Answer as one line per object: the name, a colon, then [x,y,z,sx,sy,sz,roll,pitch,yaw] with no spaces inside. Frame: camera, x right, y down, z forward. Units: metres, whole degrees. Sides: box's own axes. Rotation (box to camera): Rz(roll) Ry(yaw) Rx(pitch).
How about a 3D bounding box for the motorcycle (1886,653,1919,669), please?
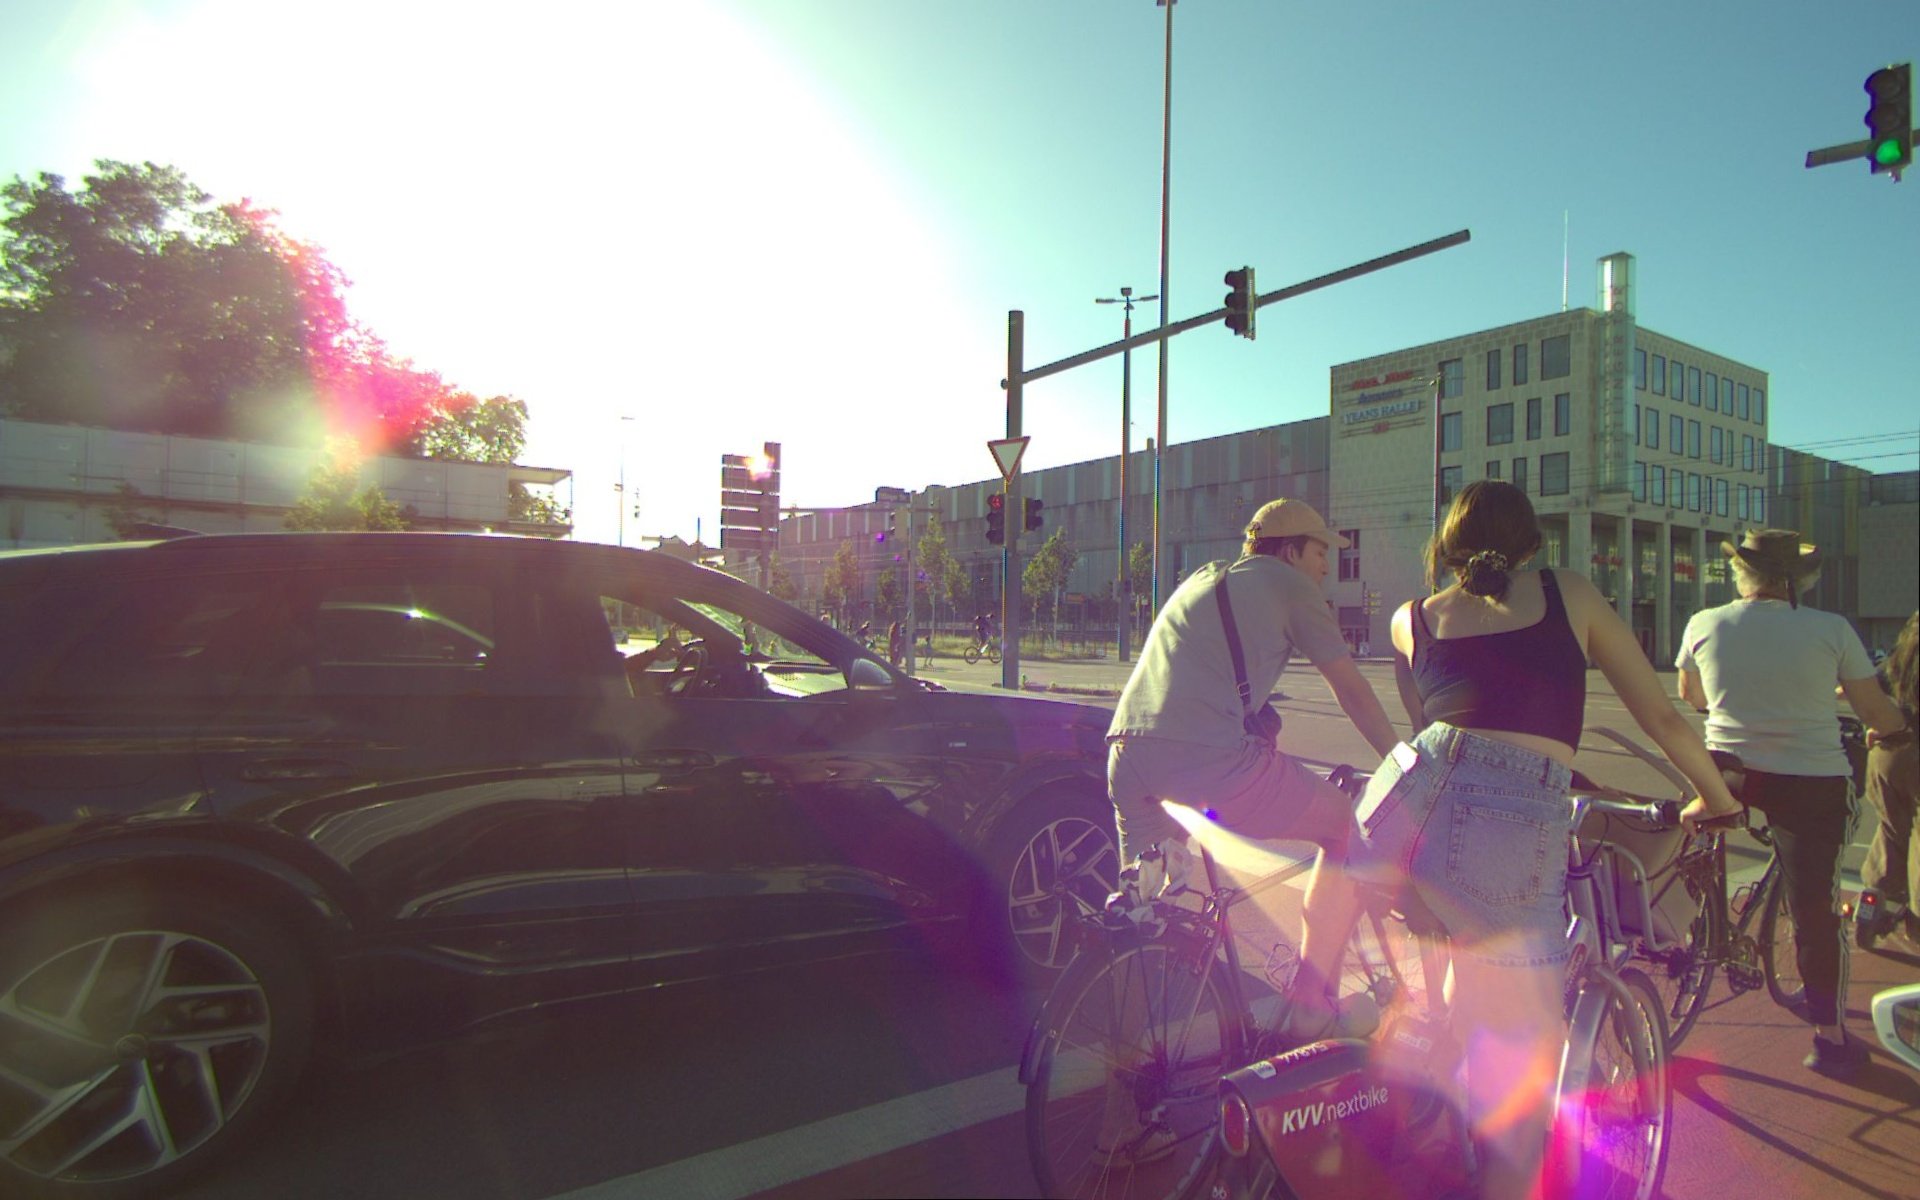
motorcycle: [70.644,4.549,74.600,0.908,1.009,2.649,2,0,-36]

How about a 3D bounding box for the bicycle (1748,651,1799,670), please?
bicycle: [51.481,3.842,63.611,0.586,1.125,2.458,1,-2,-28]

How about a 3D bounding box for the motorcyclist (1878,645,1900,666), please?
motorcyclist: [67.579,4.031,73.084,0.908,1.490,1.029,2,0,-37]

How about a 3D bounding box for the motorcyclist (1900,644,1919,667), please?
motorcyclist: [70.681,4.118,74.587,0.908,1.596,1.129,2,0,-37]

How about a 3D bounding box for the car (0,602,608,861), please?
car: [-4.831,0.735,6.608,4.476,1.370,1.761,2,-1,-32]

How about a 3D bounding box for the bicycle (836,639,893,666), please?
bicycle: [-3.615,1.985,38.195,2.059,0.939,0.797,1,-1,-39]

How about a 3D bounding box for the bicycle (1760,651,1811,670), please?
bicycle: [53.147,3.899,64.684,0.675,1.125,2.458,1,-2,-28]

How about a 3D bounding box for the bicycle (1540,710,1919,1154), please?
bicycle: [2.887,1.000,3.551,1.780,1.108,0.703,2,-2,-32]

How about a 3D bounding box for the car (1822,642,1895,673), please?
car: [49.798,3.175,55.637,4.247,1.601,1.927,2,-2,-32]

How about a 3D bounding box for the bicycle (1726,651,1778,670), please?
bicycle: [48.703,3.708,61.801,0.675,1.125,2.458,1,-2,-28]

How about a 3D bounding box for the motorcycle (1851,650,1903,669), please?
motorcycle: [65.595,4.247,71.874,0.908,1.233,2.649,2,0,-36]

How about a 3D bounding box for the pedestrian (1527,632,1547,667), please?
pedestrian: [34.196,2.913,59.561,0.899,2.040,1.023,1,-1,22]

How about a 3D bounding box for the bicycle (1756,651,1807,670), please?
bicycle: [52.519,3.882,64.237,0.675,1.125,2.458,1,-2,-28]

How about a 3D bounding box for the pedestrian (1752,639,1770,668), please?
pedestrian: [56.565,3.781,70.975,0.933,2.008,1.004,0,-1,36]

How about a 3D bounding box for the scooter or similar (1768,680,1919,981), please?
scooter or similar: [4.517,1.012,4.762,1.468,1.191,0.638,2,0,-33]

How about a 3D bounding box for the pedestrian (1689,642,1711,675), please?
pedestrian: [40.835,3.218,55.400,0.748,1.763,0.746,2,-1,-32]

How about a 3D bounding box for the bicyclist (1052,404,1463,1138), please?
bicyclist: [0.793,0.385,2.691,0.884,1.596,0.620,2,-1,-31]

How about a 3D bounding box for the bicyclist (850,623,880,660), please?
bicyclist: [-3.618,1.564,38.199,0.834,1.374,0.797,1,-1,-38]

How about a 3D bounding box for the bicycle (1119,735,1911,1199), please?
bicycle: [1.223,0.905,2.080,1.780,1.108,0.647,2,-2,-31]

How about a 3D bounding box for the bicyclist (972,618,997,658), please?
bicyclist: [0.949,1.488,39.163,0.612,1.525,0.748,1,-1,-37]

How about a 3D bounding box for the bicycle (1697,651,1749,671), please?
bicycle: [45.656,3.636,60.126,0.650,1.127,2.391,1,-2,-29]

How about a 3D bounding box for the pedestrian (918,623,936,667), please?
pedestrian: [-1.189,1.645,36.511,0.446,1.587,0.516,1,-1,-30]

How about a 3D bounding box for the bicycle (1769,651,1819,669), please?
bicycle: [55.415,3.996,66.764,0.824,1.125,2.458,1,-2,-28]

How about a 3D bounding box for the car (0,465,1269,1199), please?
car: [-1.203,0.607,4.070,4.740,1.684,2.182,2,-2,-33]

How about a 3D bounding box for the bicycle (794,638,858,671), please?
bicycle: [-4.267,1.737,32.006,1.951,1.010,0.645,1,-1,-25]

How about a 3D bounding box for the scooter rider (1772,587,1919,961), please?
scooter rider: [4.388,0.742,4.665,1.105,1.564,0.638,2,0,-33]

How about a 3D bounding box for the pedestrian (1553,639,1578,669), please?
pedestrian: [35.214,3.144,58.456,0.987,1.672,0.949,1,-1,14]

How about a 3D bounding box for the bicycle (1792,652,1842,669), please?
bicycle: [58.330,4.110,68.383,0.824,1.125,2.458,1,-2,-28]

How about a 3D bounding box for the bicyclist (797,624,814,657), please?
bicyclist: [-6.076,1.596,39.483,0.627,1.287,0.803,0,-1,-14]

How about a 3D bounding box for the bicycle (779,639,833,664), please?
bicycle: [-6.060,2.010,39.472,2.042,0.939,0.803,0,-1,-14]

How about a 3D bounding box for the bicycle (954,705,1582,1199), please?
bicycle: [0.912,0.902,2.756,1.795,1.131,0.620,2,-2,-31]

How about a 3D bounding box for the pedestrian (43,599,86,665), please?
pedestrian: [-23.653,0.838,26.555,0.646,1.702,0.834,1,-1,-30]

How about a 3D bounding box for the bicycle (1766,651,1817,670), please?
bicycle: [53.864,3.925,65.102,0.824,1.125,2.458,1,-2,-28]

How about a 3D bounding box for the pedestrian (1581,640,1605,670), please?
pedestrian: [35.612,3.086,56.507,0.926,1.592,0.842,1,-1,12]

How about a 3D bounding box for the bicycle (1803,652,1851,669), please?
bicycle: [59.664,4.156,69.141,0.652,1.125,2.458,1,-2,-28]

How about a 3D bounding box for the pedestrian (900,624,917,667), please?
pedestrian: [-1.899,1.664,37.056,0.446,1.587,0.516,1,-1,-30]

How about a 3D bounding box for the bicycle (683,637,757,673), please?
bicycle: [-6.975,1.580,29.172,2.043,0.991,0.803,0,-1,-16]

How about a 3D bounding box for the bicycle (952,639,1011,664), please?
bicycle: [0.863,2.000,39.093,2.373,0.953,0.748,2,-2,-38]

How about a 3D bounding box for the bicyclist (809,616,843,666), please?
bicyclist: [-4.273,1.291,32.016,0.929,1.565,0.645,1,-1,-25]

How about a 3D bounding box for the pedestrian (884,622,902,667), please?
pedestrian: [-2.395,1.601,36.014,0.446,1.587,0.516,1,-1,-30]

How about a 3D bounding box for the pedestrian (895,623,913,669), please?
pedestrian: [-1.990,1.607,35.423,0.446,1.587,0.516,1,-1,-30]

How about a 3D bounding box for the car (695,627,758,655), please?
car: [-12.426,2.134,53.339,1.980,1.394,3.962,1,-1,-34]

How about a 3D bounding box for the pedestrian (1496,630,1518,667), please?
pedestrian: [33.079,2.923,60.712,0.939,2.152,0.888,2,-2,-41]

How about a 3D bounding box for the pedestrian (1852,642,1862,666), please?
pedestrian: [79.917,4.809,89.493,0.475,2.040,0.610,2,0,-44]

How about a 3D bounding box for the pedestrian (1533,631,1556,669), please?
pedestrian: [33.755,2.873,58.013,1.043,2.157,1.097,1,-1,25]

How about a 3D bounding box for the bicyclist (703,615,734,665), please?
bicyclist: [-7.013,1.159,29.167,0.829,1.420,0.803,0,-1,-16]

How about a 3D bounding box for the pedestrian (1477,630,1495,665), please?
pedestrian: [32.189,2.898,61.489,0.883,2.152,0.944,0,-1,34]

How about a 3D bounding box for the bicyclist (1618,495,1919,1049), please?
bicyclist: [2.912,0.538,3.578,0.777,1.691,0.695,2,-1,-32]

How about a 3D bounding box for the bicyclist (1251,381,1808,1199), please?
bicyclist: [1.129,0.462,2.021,0.837,1.563,0.647,2,-1,-31]

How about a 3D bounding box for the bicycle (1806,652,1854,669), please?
bicycle: [60.198,4.186,69.549,0.623,1.125,2.458,1,-2,-28]

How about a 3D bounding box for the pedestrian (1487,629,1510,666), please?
pedestrian: [32.077,2.820,59.870,0.938,2.152,0.889,2,-1,-38]

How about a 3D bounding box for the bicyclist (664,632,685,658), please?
bicyclist: [-14.339,2.252,50.460,0.798,1.315,0.769,1,-1,-36]

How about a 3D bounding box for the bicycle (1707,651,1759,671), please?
bicycle: [46.788,3.660,60.826,0.676,1.125,2.457,1,-2,-29]

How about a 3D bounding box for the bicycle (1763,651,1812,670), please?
bicycle: [54.398,3.957,66.051,0.675,1.125,2.458,1,-2,-28]

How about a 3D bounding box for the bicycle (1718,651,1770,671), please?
bicycle: [47.969,3.697,61.476,0.675,1.125,2.459,1,-2,-27]

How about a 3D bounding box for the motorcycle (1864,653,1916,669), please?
motorcycle: [67.624,4.436,73.024,0.908,1.009,2.649,2,0,-36]

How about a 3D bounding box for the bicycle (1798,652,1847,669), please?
bicycle: [59.005,4.124,68.748,0.652,1.125,2.458,1,-2,-28]

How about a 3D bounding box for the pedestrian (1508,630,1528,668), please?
pedestrian: [32.439,2.839,58.417,0.881,2.152,0.947,1,-1,22]

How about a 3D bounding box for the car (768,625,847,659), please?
car: [-6.867,1.827,44.903,1.980,1.394,3.962,1,-1,-34]

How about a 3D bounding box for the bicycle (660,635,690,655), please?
bicycle: [-14.333,2.252,50.452,0.798,0.939,2.056,1,-1,-35]
